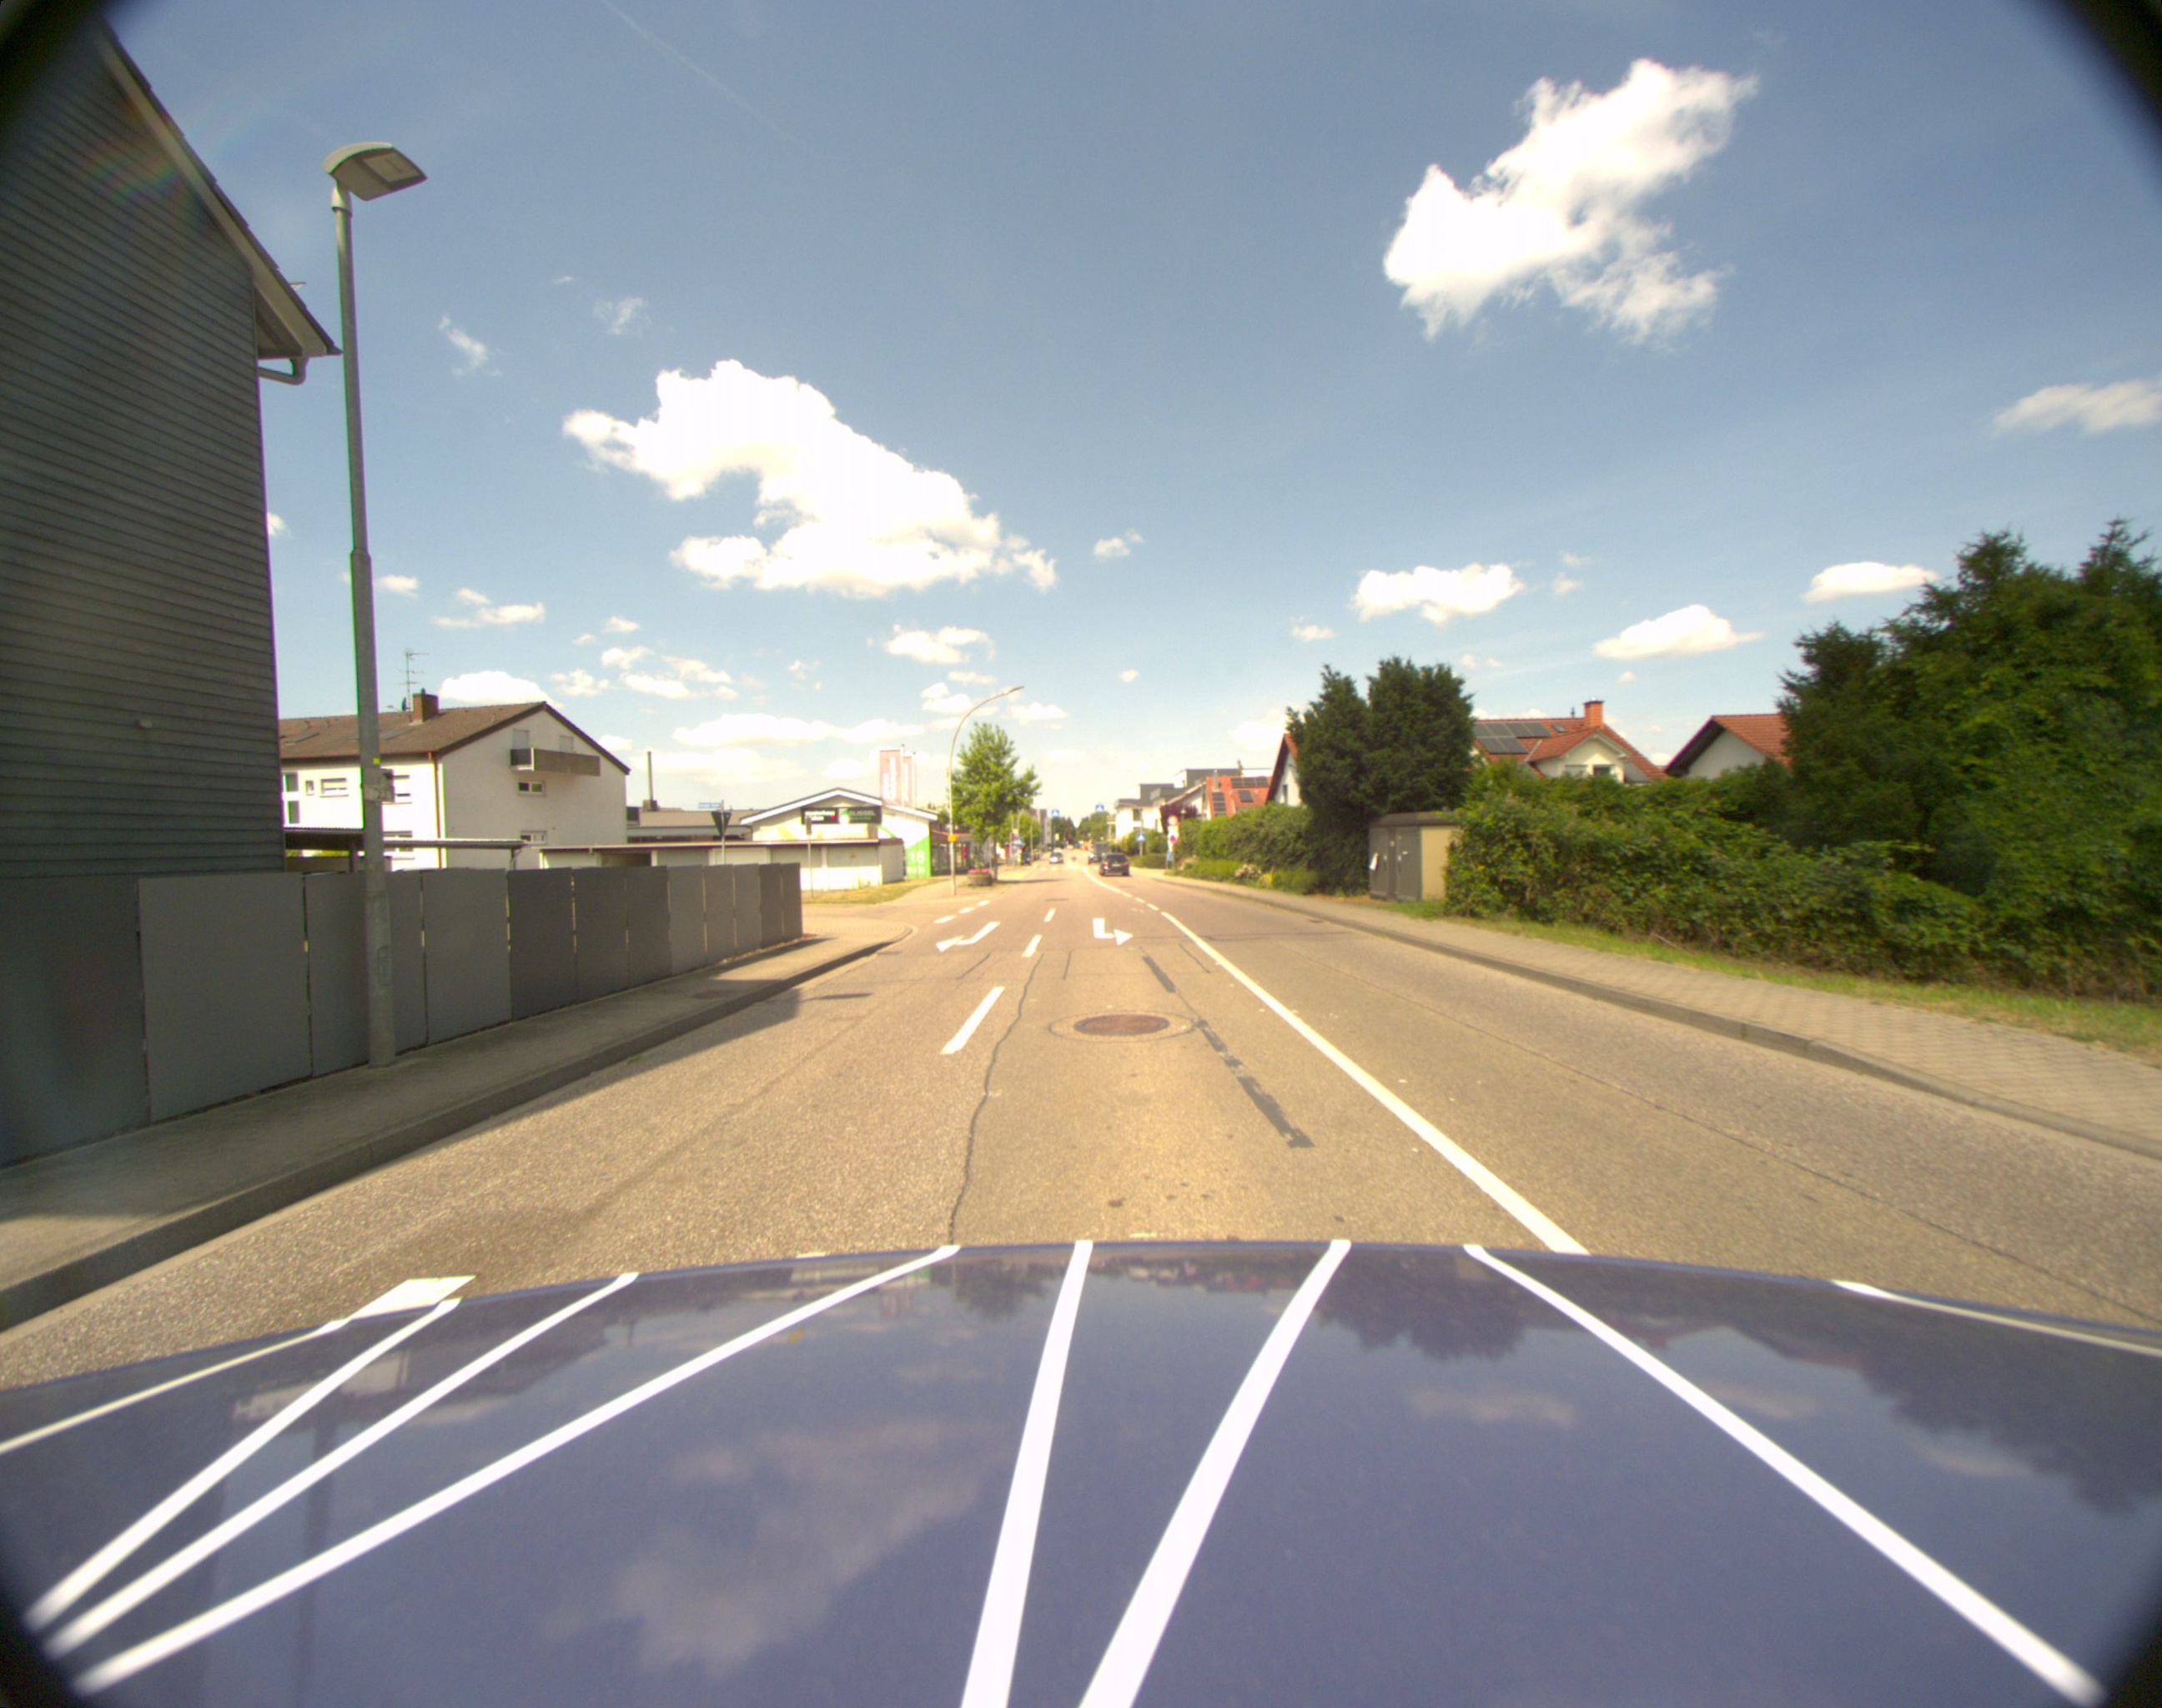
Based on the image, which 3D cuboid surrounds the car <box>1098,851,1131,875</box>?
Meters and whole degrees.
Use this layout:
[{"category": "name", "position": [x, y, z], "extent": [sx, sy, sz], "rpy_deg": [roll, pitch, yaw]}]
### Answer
[{"category": "car", "position": [2.131, 0.542, 49.562], "extent": [1.868, 1.434, 4.669], "rpy_deg": [0, 1, -2]}]

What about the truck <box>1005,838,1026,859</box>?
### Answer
[{"category": "truck", "position": [-9.086, -0.769, 104.782], "extent": [2.580, 2.746, 6.329], "rpy_deg": [0, 1, -7]}]

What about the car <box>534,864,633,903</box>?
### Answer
[{"category": "car", "position": [-22.296, 1.296, 34.277], "extent": [1.679, 1.494, 4.131], "rpy_deg": [-2, 1, 0]}]

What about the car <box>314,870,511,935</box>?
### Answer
[{"category": "car", "position": [-18.572, 1.278, 21.419], "extent": [1.741, 1.638, 4.217], "rpy_deg": [-1, -1, 2]}]

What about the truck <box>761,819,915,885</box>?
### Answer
[{"category": "truck", "position": [-14.326, -0.142, 45.322], "extent": [8.192, 3.553, 2.676], "rpy_deg": [-2, 2, -2]}]

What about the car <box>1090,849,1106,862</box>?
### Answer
[{"category": "car", "position": [1.956, 0.157, 88.368], "extent": [1.785, 1.425, 3.871], "rpy_deg": [0, 0, -1]}]

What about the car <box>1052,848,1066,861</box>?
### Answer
[{"category": "car", "position": [-2.804, 0.049, 97.337], "extent": [1.729, 1.484, 3.759], "rpy_deg": [0, 1, -1]}]

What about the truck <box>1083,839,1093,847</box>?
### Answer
[{"category": "truck", "position": [2.499, -3.722, 261.701], "extent": [2.863, 2.695, 6.793], "rpy_deg": [0, 1, 5]}]

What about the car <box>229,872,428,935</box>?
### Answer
[{"category": "car", "position": [-21.053, 1.327, 21.510], "extent": [1.741, 1.577, 3.854], "rpy_deg": [-1, -1, 2]}]

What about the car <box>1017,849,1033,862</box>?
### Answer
[{"category": "car", "position": [-6.547, 0.163, 89.870], "extent": [1.729, 1.484, 3.758], "rpy_deg": [0, 1, -2]}]
